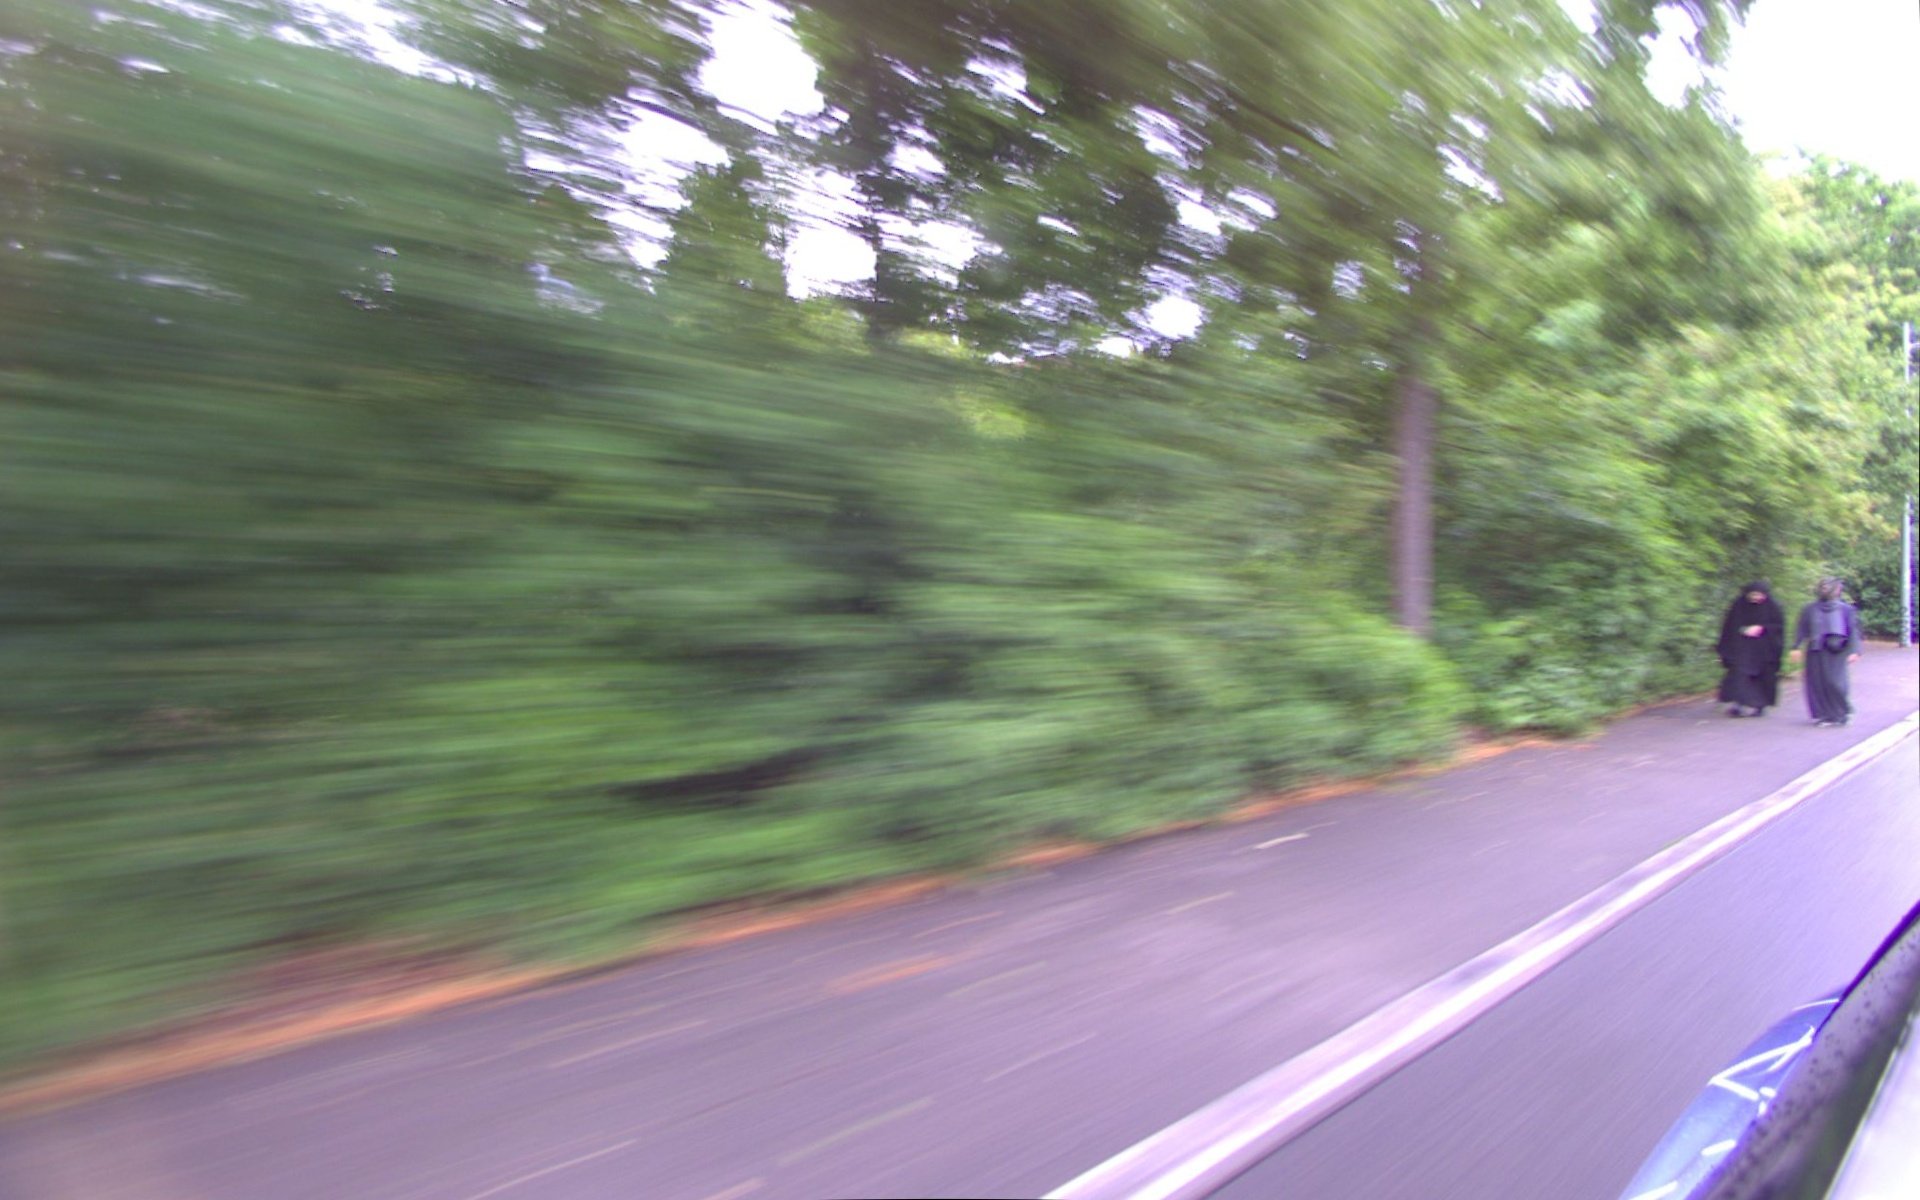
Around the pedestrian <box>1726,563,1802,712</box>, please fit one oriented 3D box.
[{"bbox_3d":[8.969,0.390,11.292,0.595,1.586,0.659,2,2,41],"label":"pedestrian"}]

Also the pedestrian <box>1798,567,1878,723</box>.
[{"bbox_3d":[9.356,0.455,10.805,0.551,1.585,0.480,3,3,39],"label":"pedestrian"}]
